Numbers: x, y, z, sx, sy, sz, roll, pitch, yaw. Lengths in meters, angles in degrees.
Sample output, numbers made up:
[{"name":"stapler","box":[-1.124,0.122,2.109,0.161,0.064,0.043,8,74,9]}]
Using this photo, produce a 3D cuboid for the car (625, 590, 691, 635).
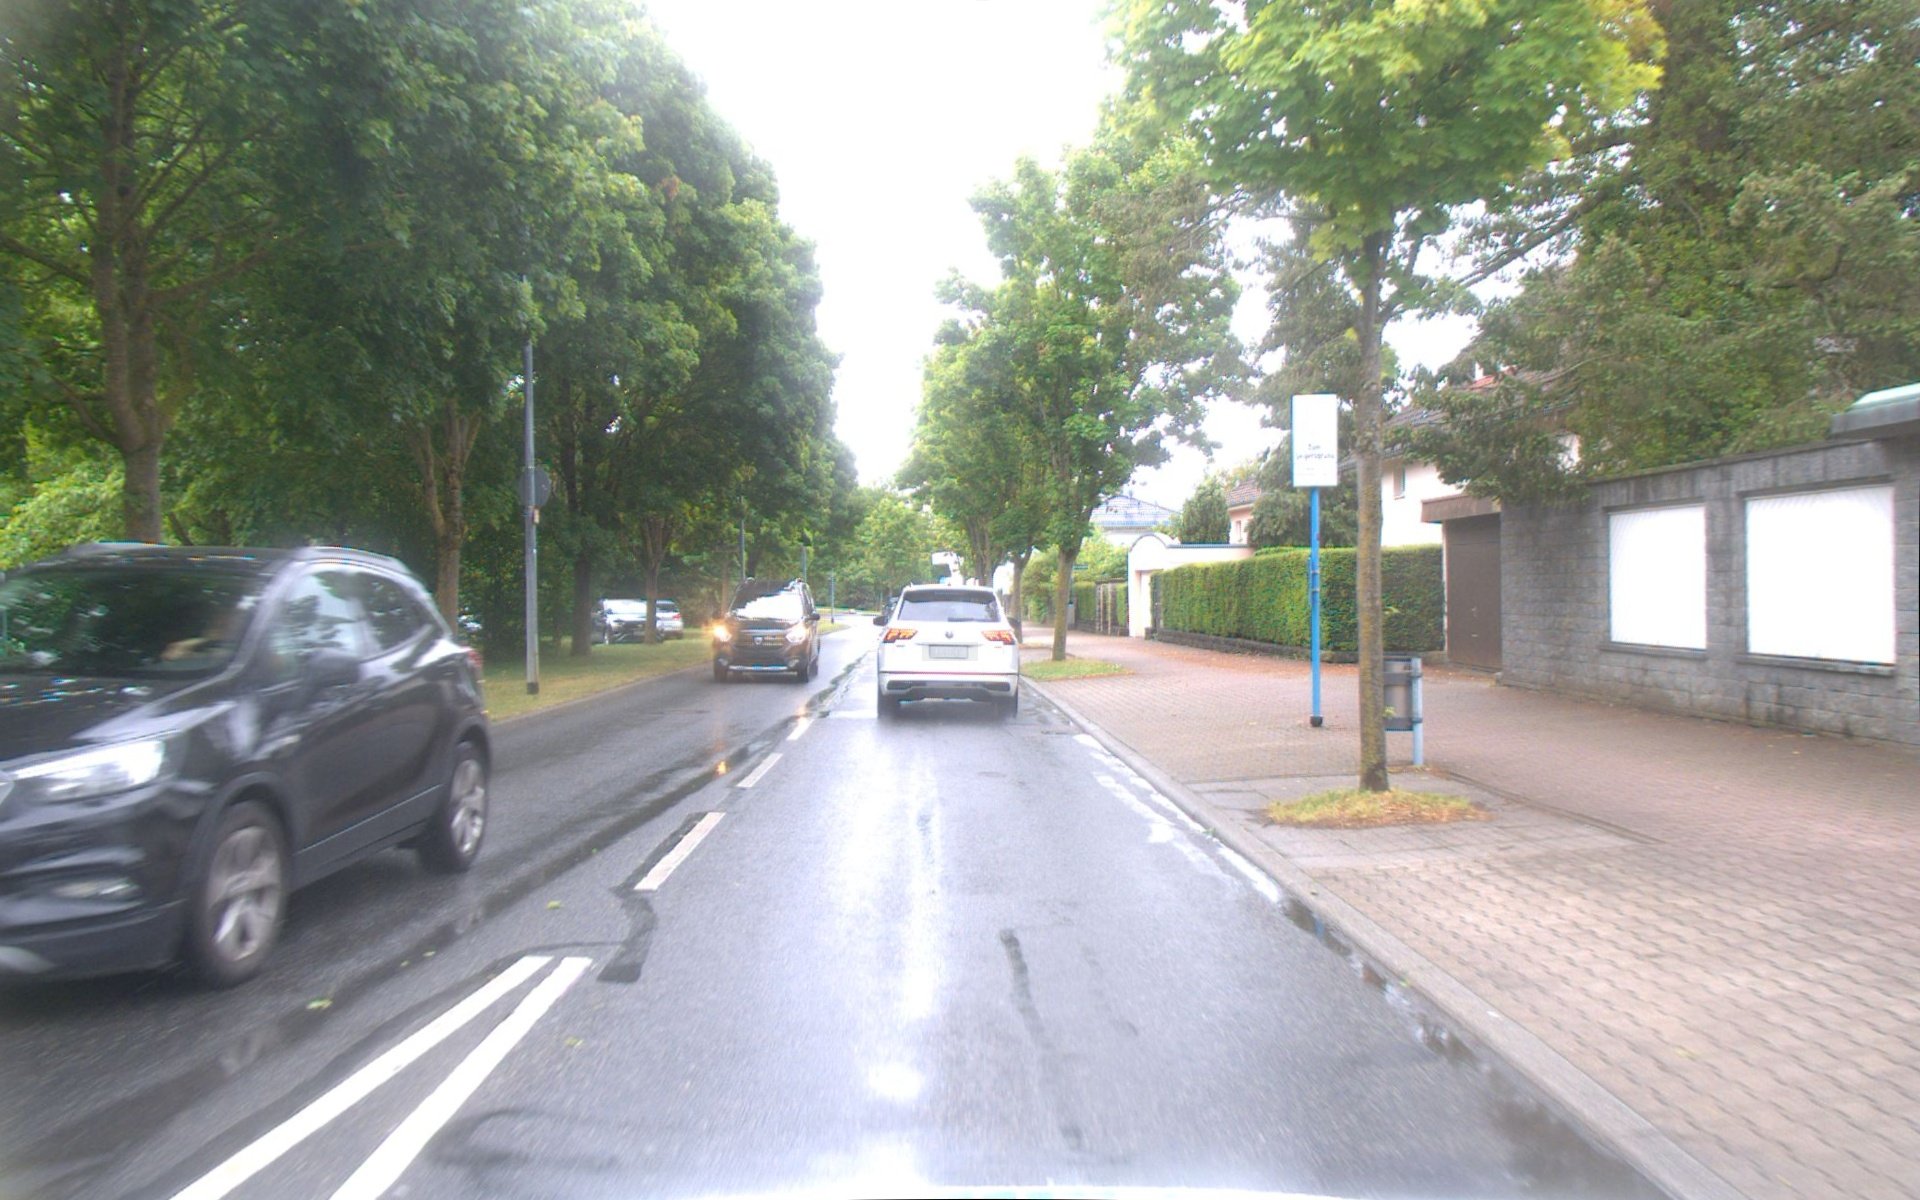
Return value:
[{"name":"car","box":[-11.612,0.456,63.447,1.853,1.454,4.194,-2,3,-19]}]

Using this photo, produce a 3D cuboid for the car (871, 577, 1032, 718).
[{"name":"car","box":[-0.128,0.561,21.999,1.934,1.682,4.176,0,0,-1]}]

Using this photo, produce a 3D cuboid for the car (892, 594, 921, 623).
[{"name":"car","box":[-3.986,0.634,123.279,1.865,2.049,3.939,1,0,-6]}]

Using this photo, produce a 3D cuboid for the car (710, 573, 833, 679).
[{"name":"car","box":[-3.408,0.433,30.543,1.740,1.804,4.286,-1,0,0]}]

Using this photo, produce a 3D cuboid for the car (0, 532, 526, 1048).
[{"name":"car","box":[-3.359,0.584,7.314,1.674,1.625,4.173,0,0,1]}]

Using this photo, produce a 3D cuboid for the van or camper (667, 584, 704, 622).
[{"name":"van or camper","box":[-18.633,0.190,112.361,2.340,2.402,6.796,-2,0,-9]}]

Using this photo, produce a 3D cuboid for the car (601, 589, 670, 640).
[{"name":"car","box":[-10.264,0.434,52.067,1.857,1.540,4.233,-1,0,-15]}]

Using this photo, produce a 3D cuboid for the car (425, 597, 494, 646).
[{"name":"car","box":[-18.350,0.754,60.524,1.838,1.534,4.572,-2,3,-24]}]

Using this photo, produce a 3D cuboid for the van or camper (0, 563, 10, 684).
[{"name":"van or camper","box":[-19.335,0.500,29.529,2.052,2.376,6.139,-2,0,-10]}]
